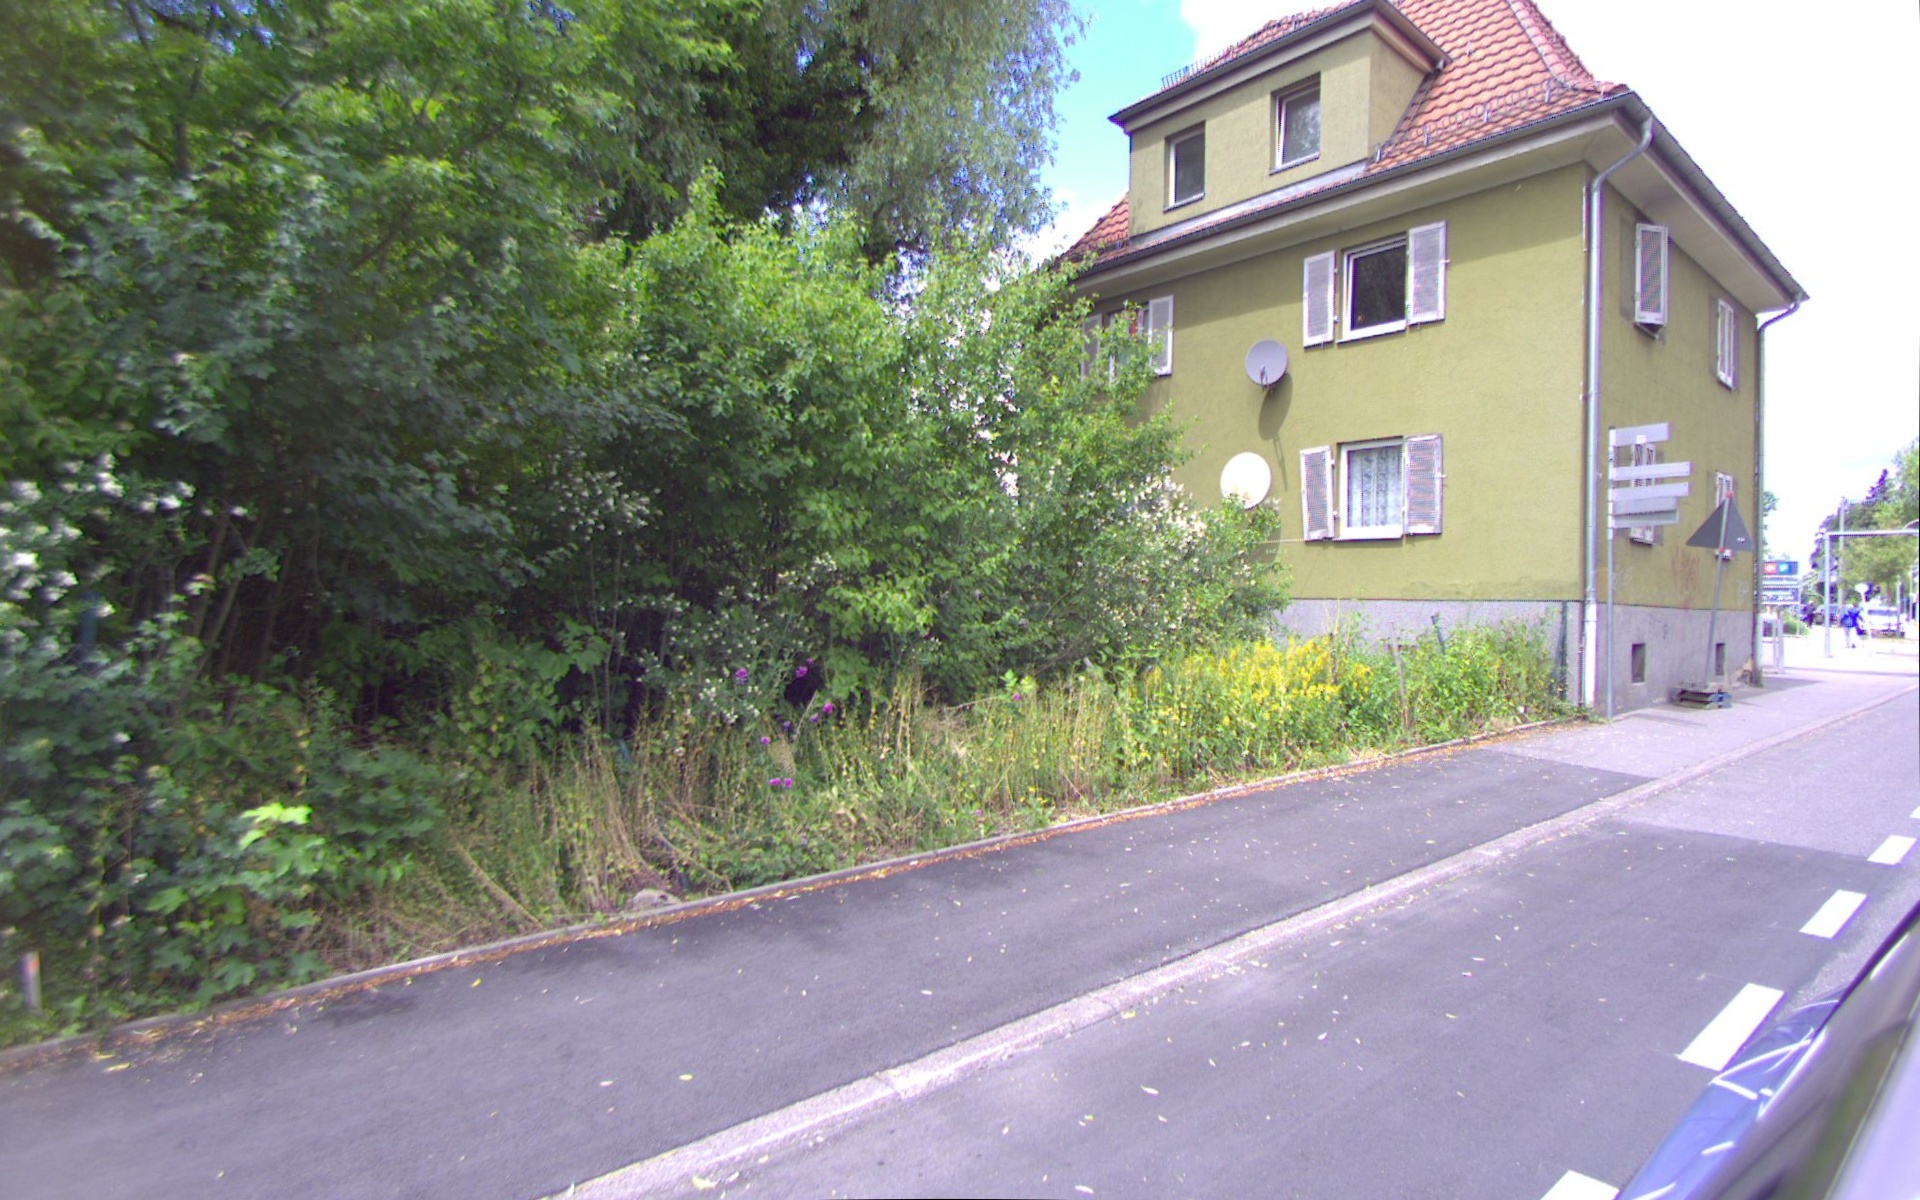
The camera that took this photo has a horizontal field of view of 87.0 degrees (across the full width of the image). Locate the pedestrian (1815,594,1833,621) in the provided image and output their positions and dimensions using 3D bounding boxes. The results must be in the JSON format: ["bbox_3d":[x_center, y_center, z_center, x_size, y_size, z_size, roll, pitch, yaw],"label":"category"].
[{"bbox_3d":[53.470,0.465,62.647,0.765,1.683,0.721,1,-3,-45],"label":"pedestrian"}]

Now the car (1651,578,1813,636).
[{"bbox_3d":[28.487,0.194,37.485,1.961,2.019,4.374,0,1,-32],"label":"car"}]

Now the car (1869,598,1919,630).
[{"bbox_3d":[47.597,0.664,51.325,3.931,1.529,1.797,0,1,-42],"label":"car"}]

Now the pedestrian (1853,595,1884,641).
[{"bbox_3d":[31.838,0.607,35.477,0.726,1.572,1.042,1,0,39],"label":"pedestrian"}]
